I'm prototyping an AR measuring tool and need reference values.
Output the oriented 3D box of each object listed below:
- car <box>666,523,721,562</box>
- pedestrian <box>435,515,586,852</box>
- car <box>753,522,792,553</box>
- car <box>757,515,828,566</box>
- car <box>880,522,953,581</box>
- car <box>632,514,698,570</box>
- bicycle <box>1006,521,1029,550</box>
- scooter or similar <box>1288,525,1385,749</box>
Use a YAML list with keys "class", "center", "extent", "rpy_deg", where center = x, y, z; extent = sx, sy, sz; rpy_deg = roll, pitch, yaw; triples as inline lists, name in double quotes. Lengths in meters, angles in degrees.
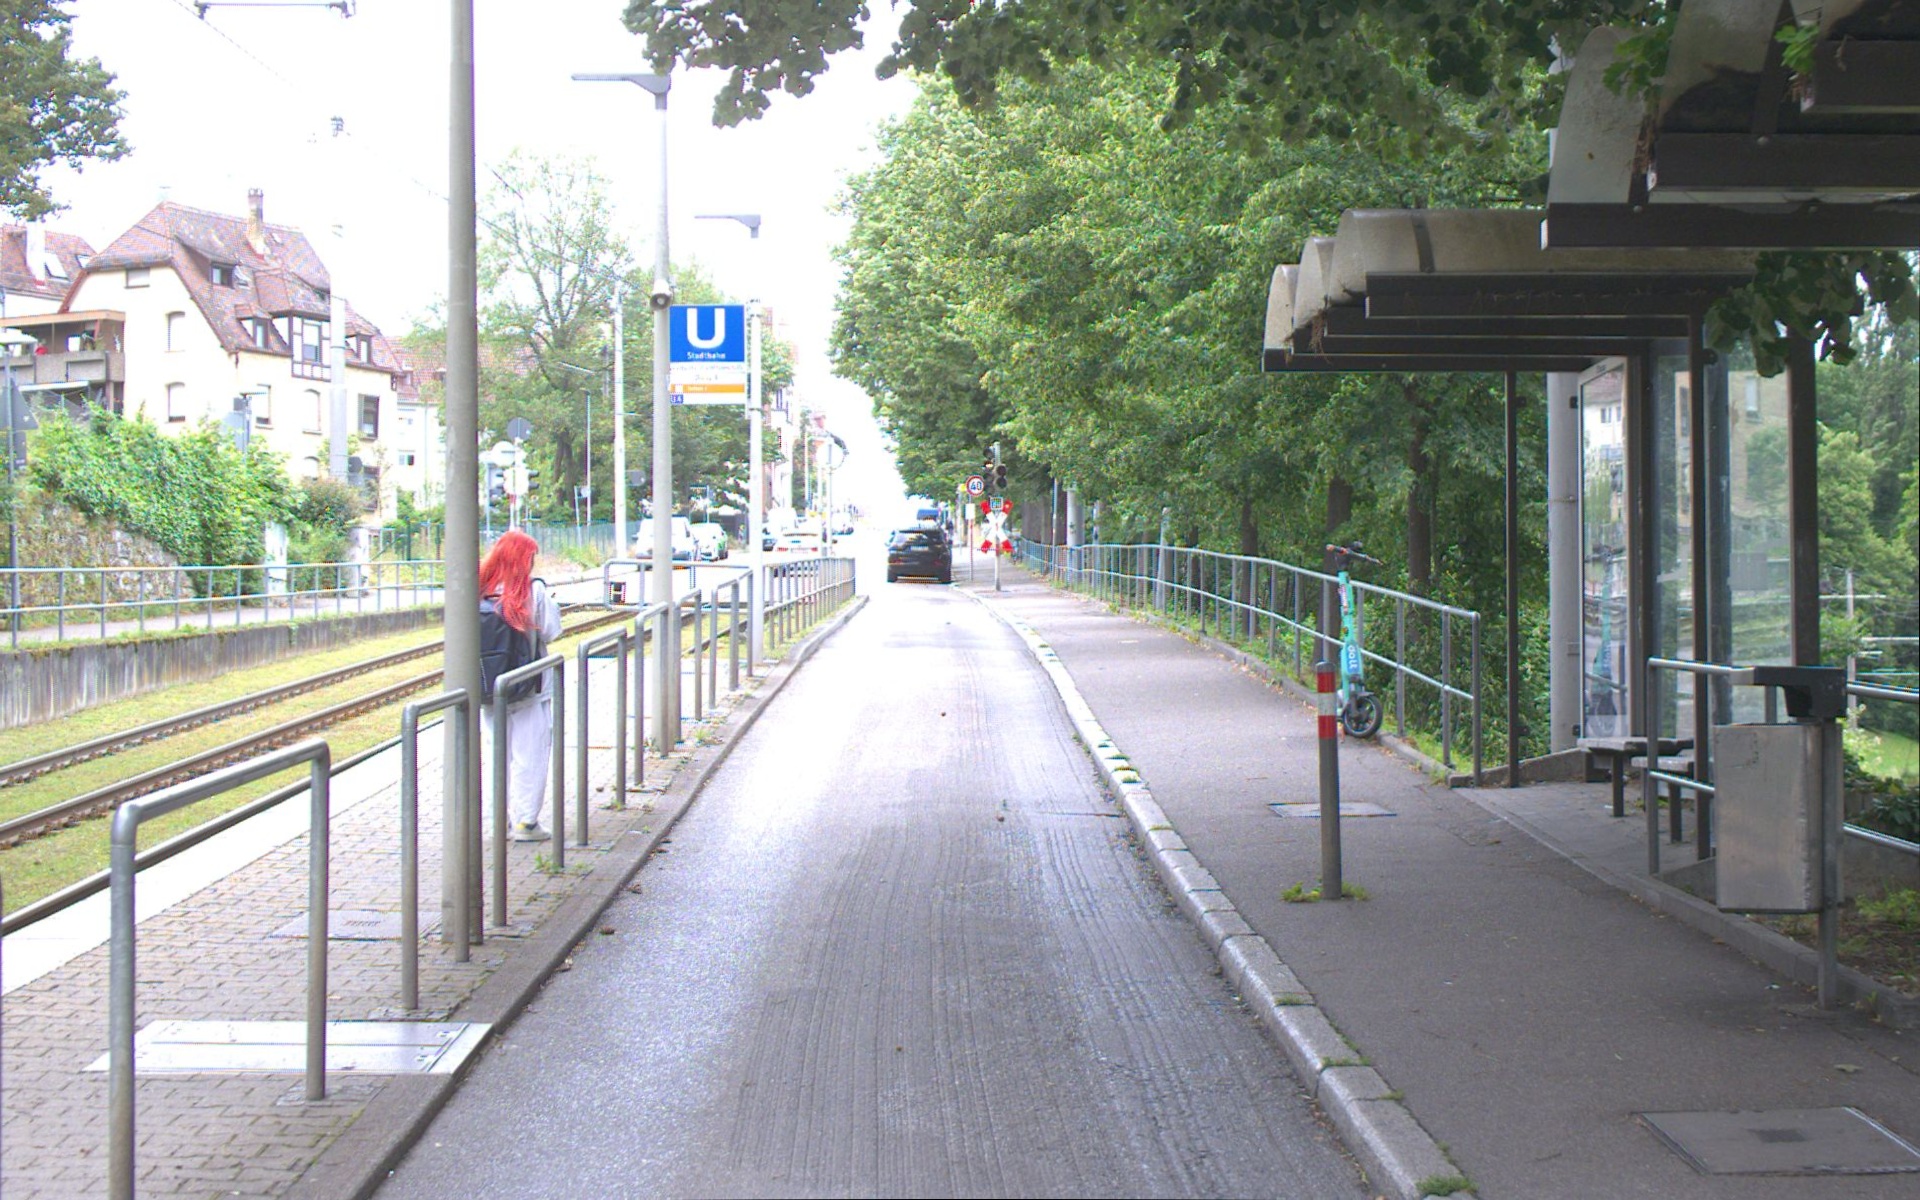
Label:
- class: "car"
  center: [-10.741, -2.323, 138.880]
  extent: [1.885, 1.521, 4.664]
  rpy_deg: [-1, 1, 0]
- class: "pedestrian"
  center: [-2.055, 0.366, 15.783]
  extent: [0.624, 1.497, 0.739]
  rpy_deg: [1, 2, -3]
- class: "car"
  center: [-11.191, -3.723, 205.133]
  extent: [1.993, 1.802, 4.000]
  rpy_deg: [1, 0, 1]
- class: "car"
  center: [-5.119, -1.814, 105.723]
  extent: [1.993, 1.493, 4.312]
  rpy_deg: [1, 0, -1]
- class: "car"
  center: [-1.228, -1.399, 98.891]
  extent: [1.904, 1.609, 4.600]
  rpy_deg: [1, 1, 1]
- class: "car"
  center: [-10.661, -2.087, 124.546]
  extent: [2.035, 1.875, 4.885]
  rpy_deg: [-3, 0, -2]
- class: "bicycle"
  center: [1.976, -2.229, 118.264]
  extent: [0.427, 0.972, 1.795]
  rpy_deg: [1, 0, -10]
- class: "scooter or similar"
  center: [2.395, 0.223, 21.963]
  extent: [0.430, 1.380, 1.455]
  rpy_deg: [1, 0, -1]
